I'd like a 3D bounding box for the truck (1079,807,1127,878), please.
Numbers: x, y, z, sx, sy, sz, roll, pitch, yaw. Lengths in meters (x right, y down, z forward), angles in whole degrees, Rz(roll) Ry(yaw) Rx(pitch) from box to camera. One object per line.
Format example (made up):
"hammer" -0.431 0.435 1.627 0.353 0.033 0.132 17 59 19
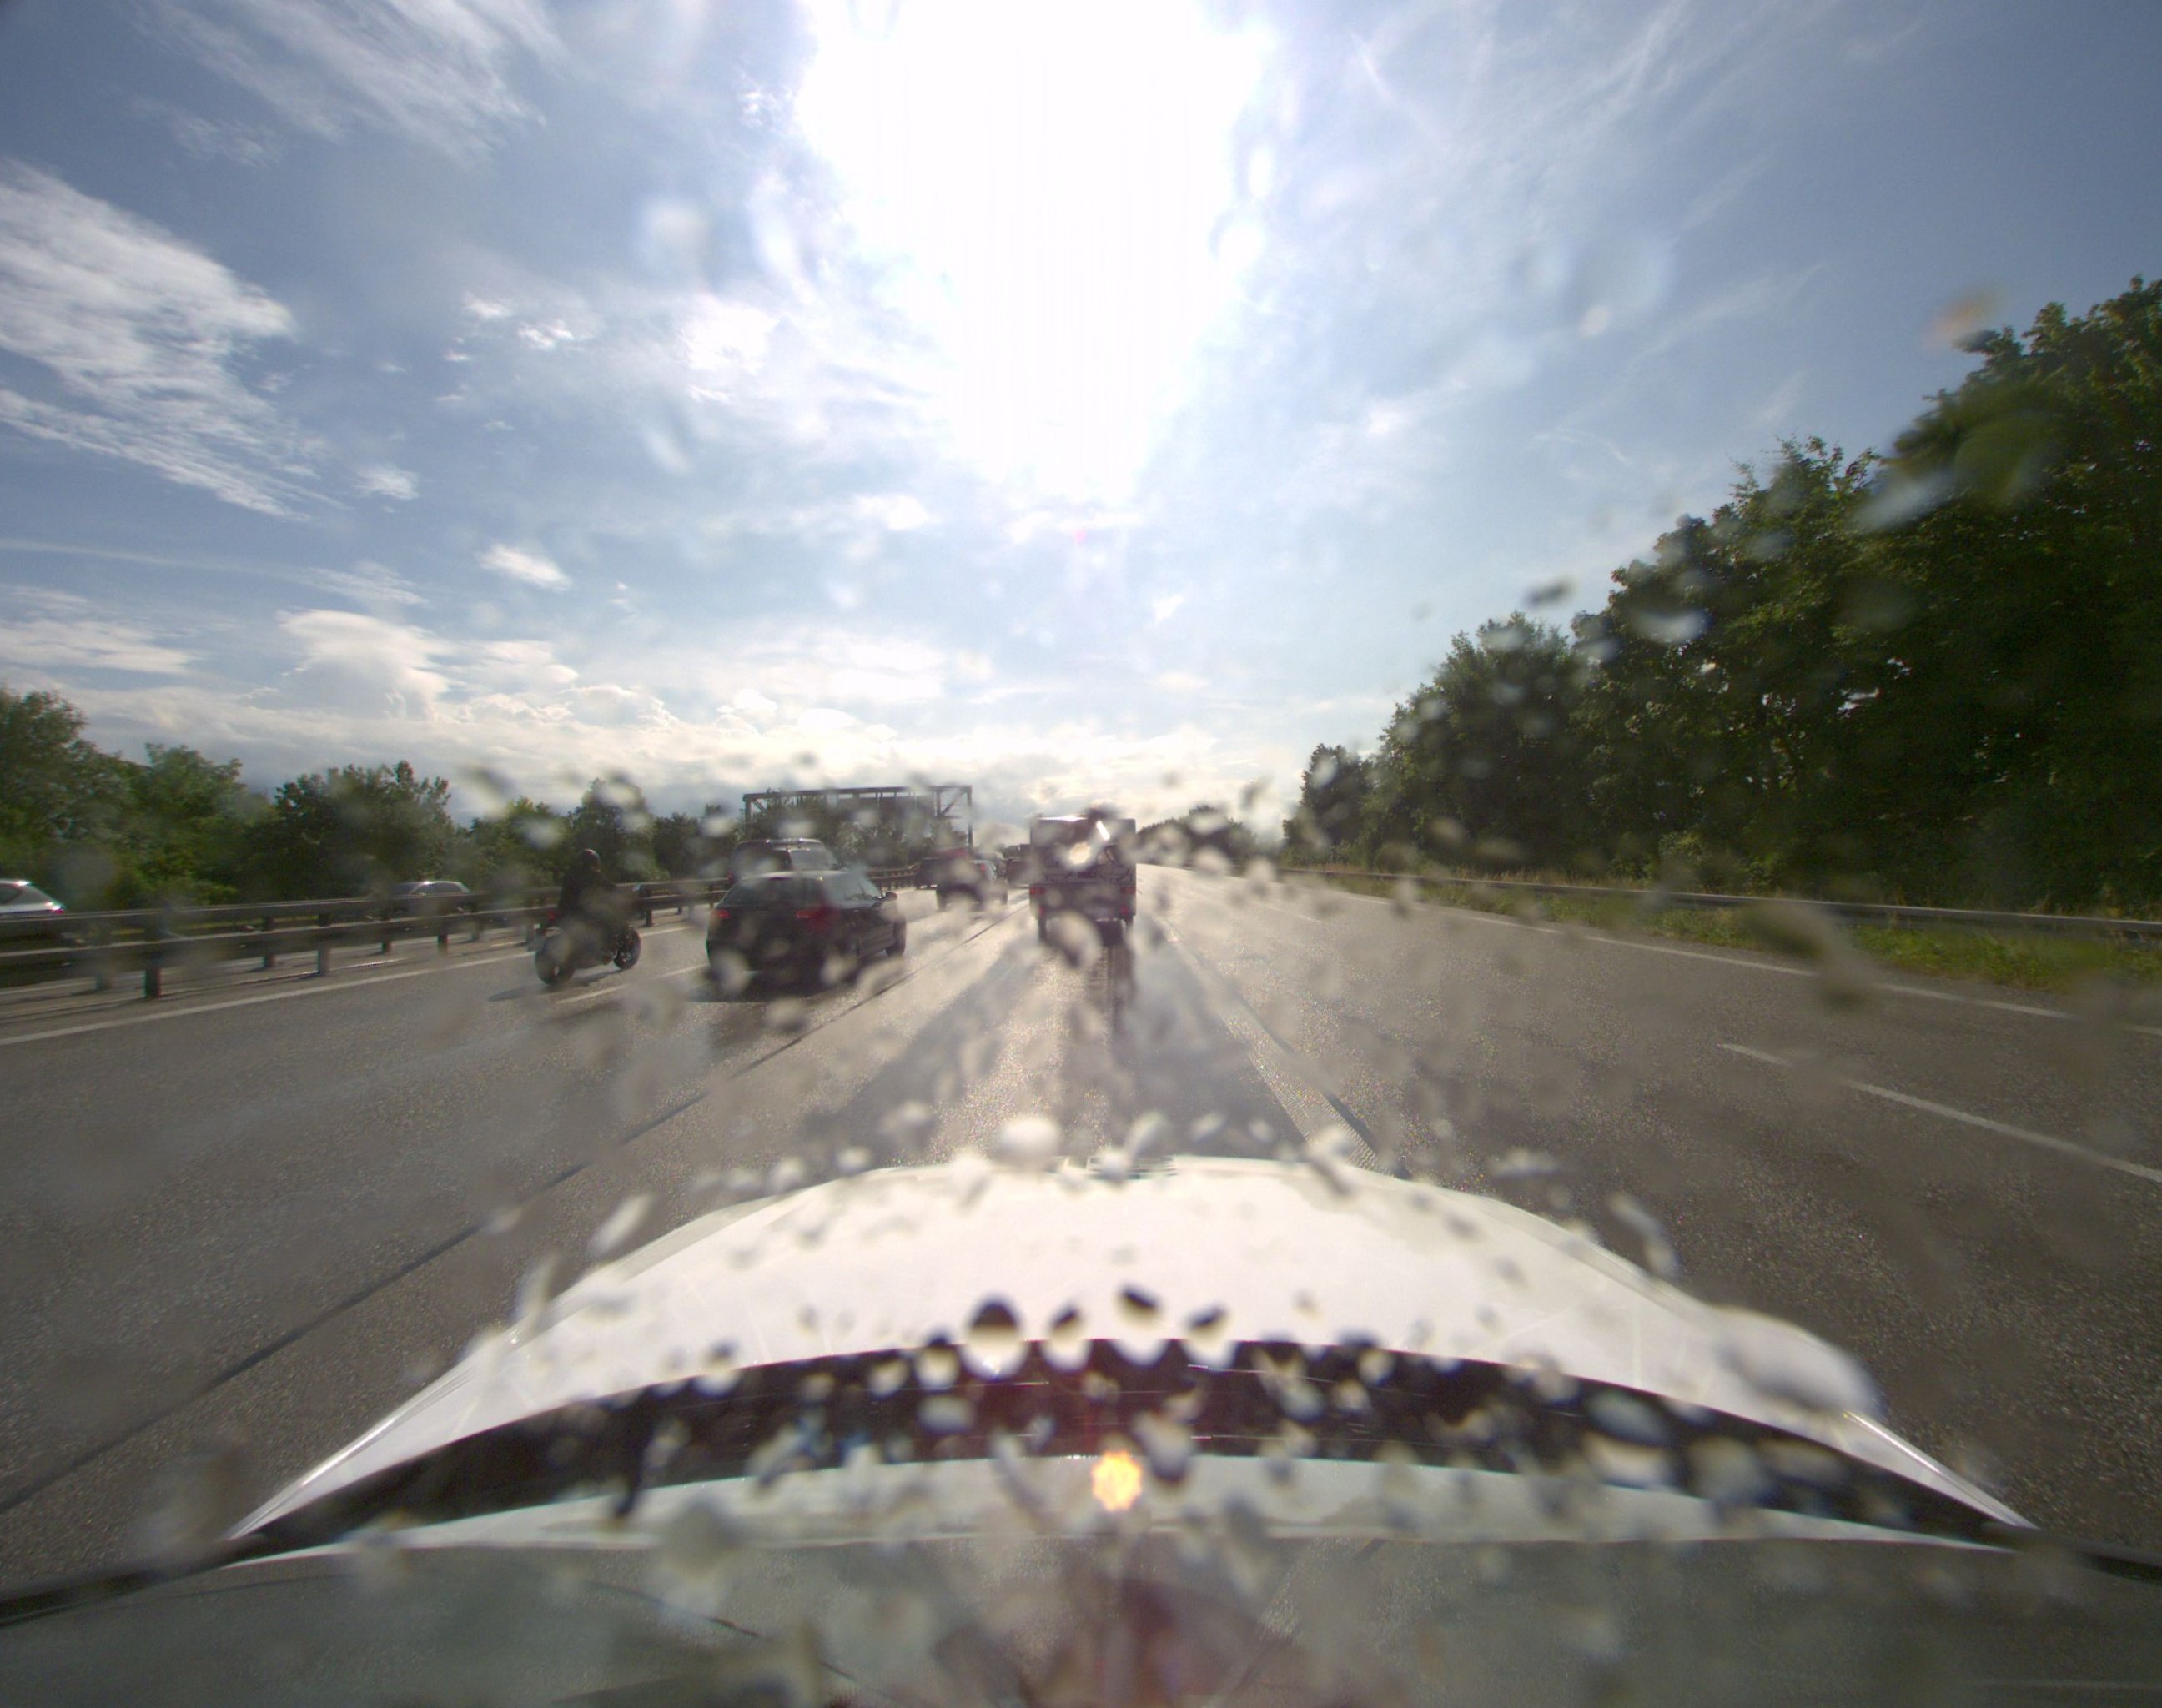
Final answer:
"truck" 1.574 -0.753 59.380 3.135 4.626 10.737 -1 0 1

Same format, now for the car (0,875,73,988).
"car" -15.884 1.093 10.071 1.793 1.544 4.001 -1 0 1

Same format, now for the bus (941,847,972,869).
"bus" -19.467 0.633 128.259 2.930 3.286 12.209 -1 0 0

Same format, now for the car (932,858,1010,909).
"car" -3.405 0.878 25.931 1.751 1.443 4.003 -1 0 3

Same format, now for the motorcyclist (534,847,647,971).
"motorcyclist" -6.419 0.692 10.712 0.793 1.537 1.093 -1 0 2

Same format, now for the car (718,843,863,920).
"car" -7.739 0.673 22.356 1.799 1.844 5.422 -1 0 3

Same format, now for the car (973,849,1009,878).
"car" -6.358 0.666 58.088 1.841 1.934 5.018 -1 0 1

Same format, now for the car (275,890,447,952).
"car" -22.335 2.017 25.505 1.725 1.592 4.002 -1 0 2

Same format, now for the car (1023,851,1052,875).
"car" -3.042 0.614 57.351 1.682 1.662 3.642 -1 0 2

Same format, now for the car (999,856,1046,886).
"car" -3.007 0.869 42.447 1.979 1.458 3.829 -1 0 3

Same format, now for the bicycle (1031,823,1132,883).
"bicycle" 0.014 -0.014 15.838 1.925 1.141 0.384 0 -1 3

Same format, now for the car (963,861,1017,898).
"car" -3.948 1.089 36.069 1.856 1.508 4.001 -1 0 1

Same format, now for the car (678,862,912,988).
"car" -3.779 0.851 11.569 1.743 1.433 4.056 -1 0 2

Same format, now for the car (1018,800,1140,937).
"car" 0.058 0.301 18.033 2.401 2.674 4.003 0 -1 3

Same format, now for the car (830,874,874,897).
"car" -15.695 2.156 56.044 1.769 1.442 4.001 -1 0 1

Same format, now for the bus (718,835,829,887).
"bus" -21.884 0.460 59.147 2.880 3.374 12.476 -1 0 2

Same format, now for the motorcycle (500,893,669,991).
"motorcycle" -6.410 1.085 10.716 0.688 1.027 2.389 -1 0 2

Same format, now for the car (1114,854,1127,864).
"car" 6.724 0.861 138.958 1.830 1.558 3.997 0 0 -2

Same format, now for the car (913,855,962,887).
"car" -7.465 0.856 42.727 1.777 1.578 3.916 -1 0 1
